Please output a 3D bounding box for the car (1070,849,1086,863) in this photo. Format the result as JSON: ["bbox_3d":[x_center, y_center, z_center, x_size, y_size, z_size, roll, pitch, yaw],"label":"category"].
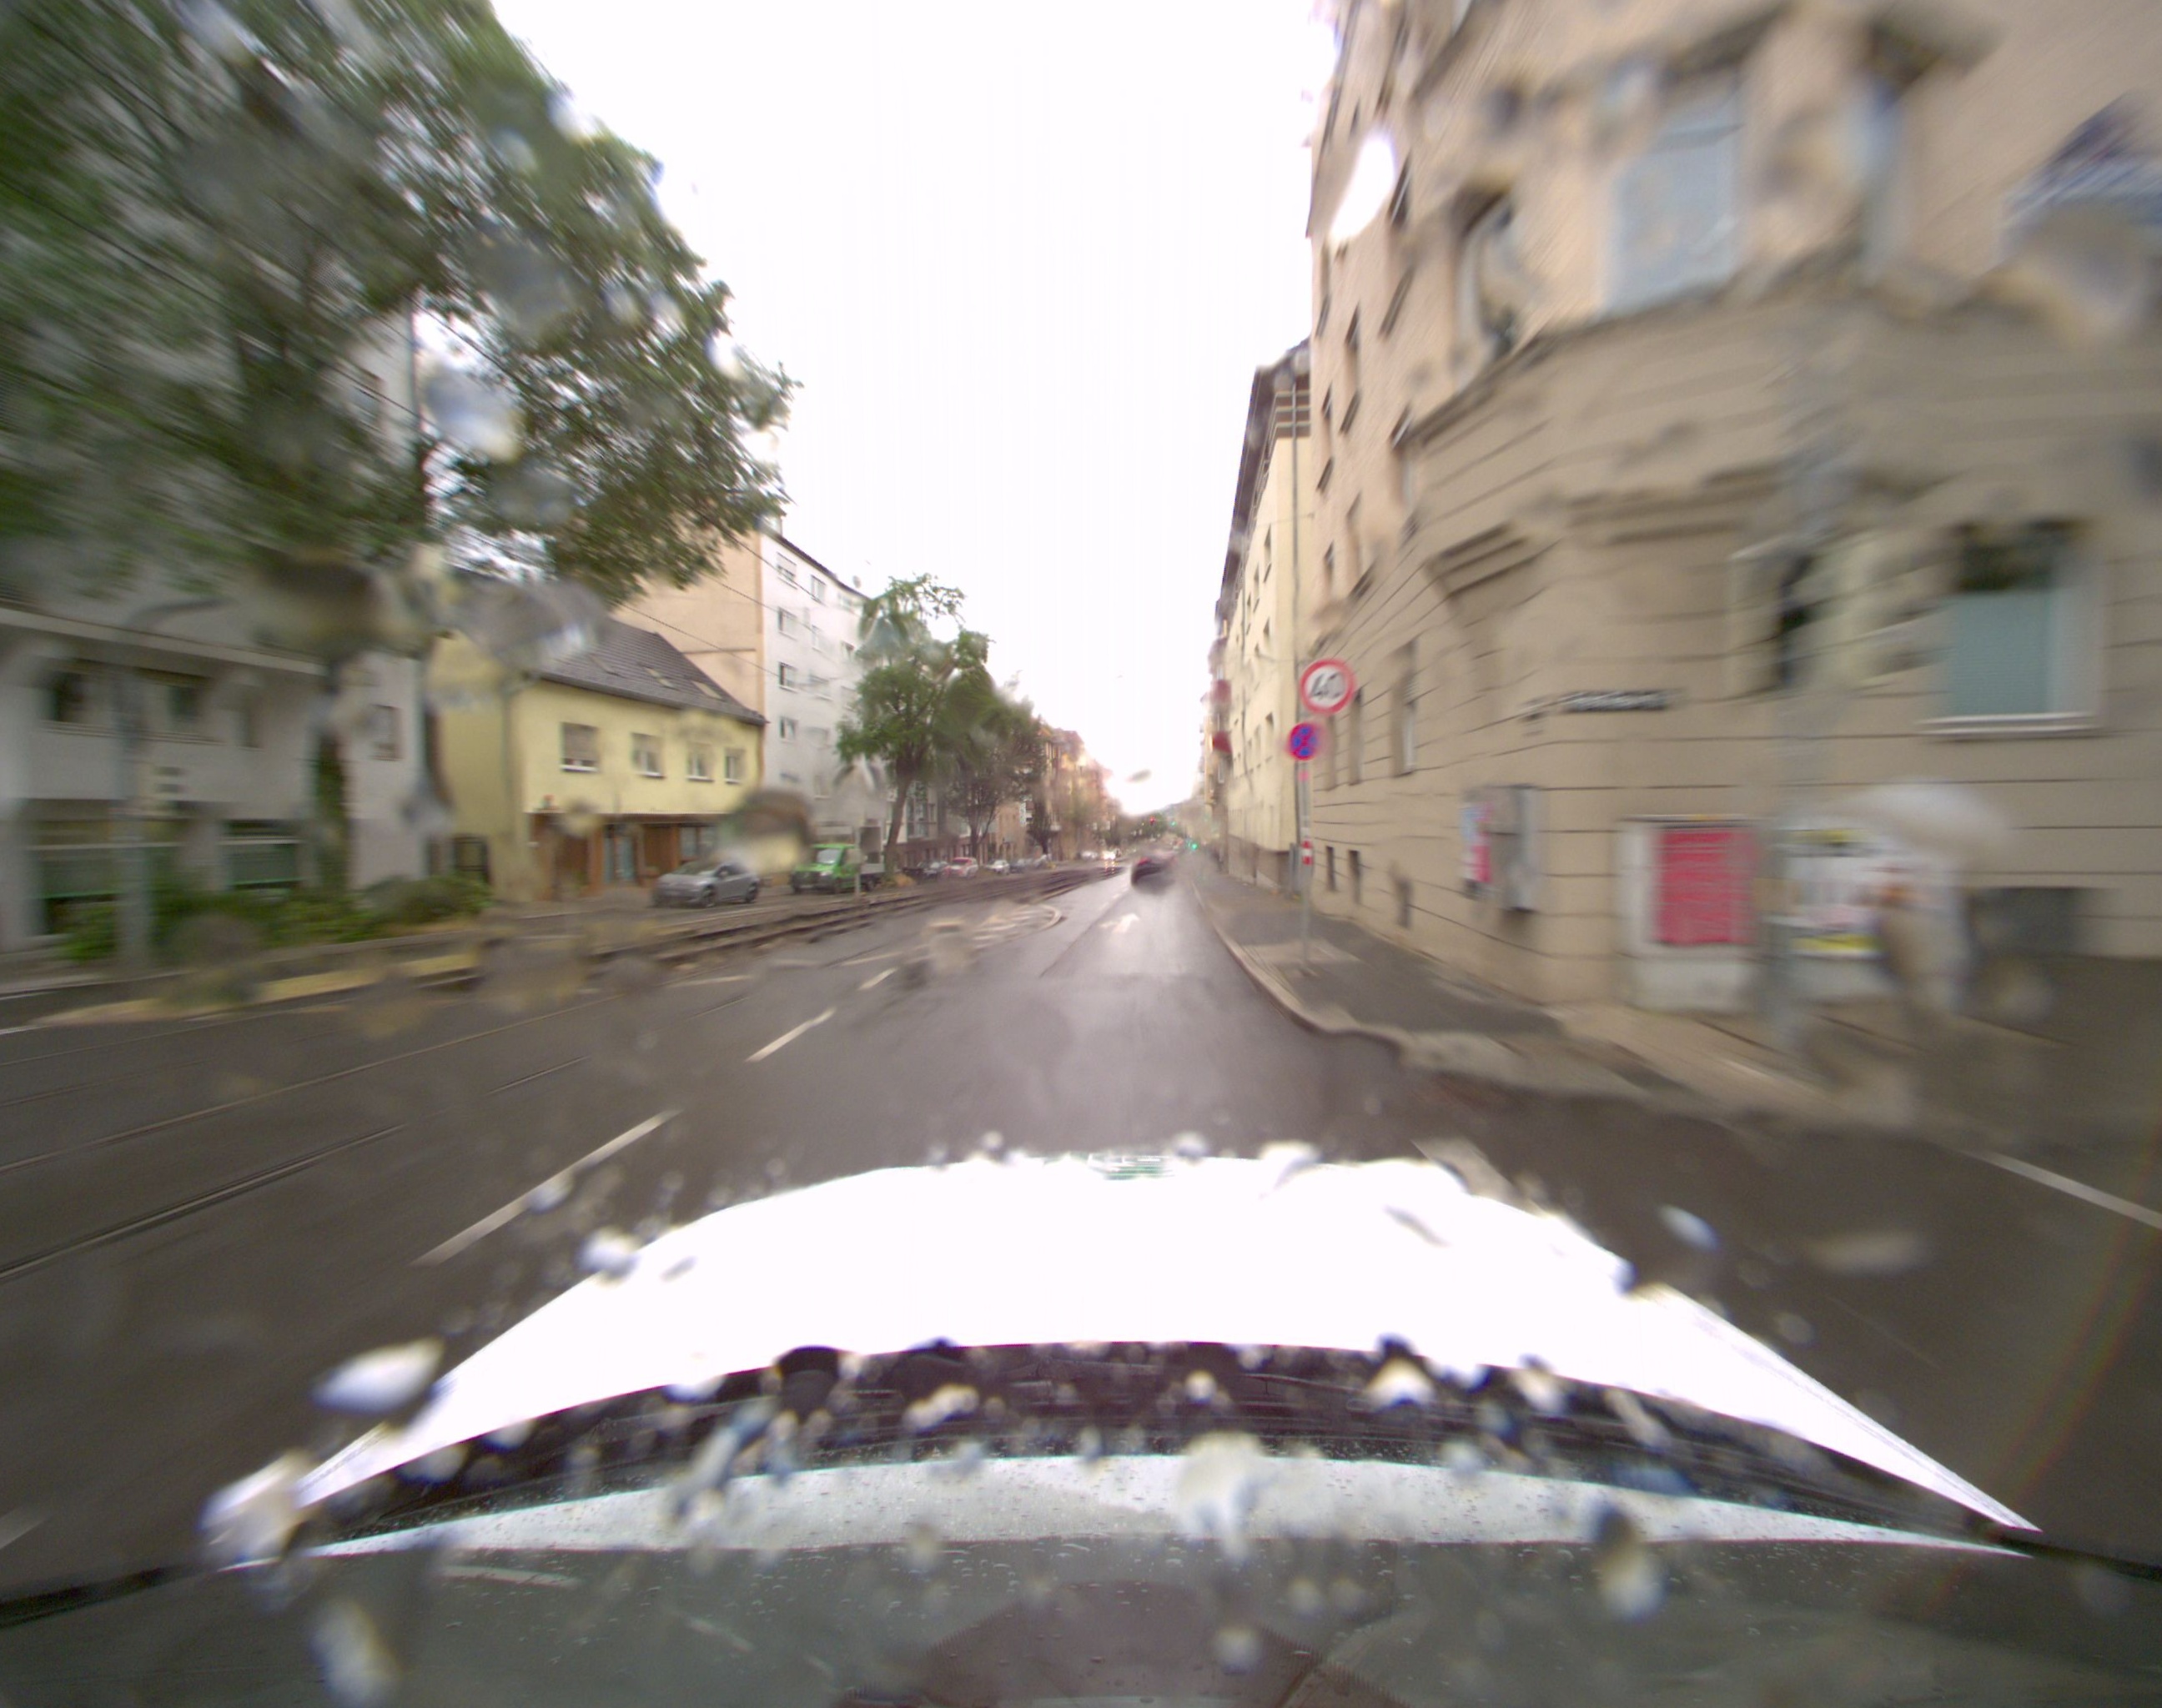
[{"bbox_3d":[-0.466,0.323,124.922,1.984,2.014,4.353,-3,-1,5],"label":"car"}]

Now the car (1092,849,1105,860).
[{"bbox_3d":[3.428,0.179,158.307,1.984,2.014,4.353,-3,-1,5],"label":"car"}]

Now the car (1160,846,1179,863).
[{"bbox_3d":[9.620,0.116,88.809,1.939,1.793,4.150,-1,-1,5],"label":"car"}]

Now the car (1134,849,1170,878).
[{"bbox_3d":[3.909,0.503,44.487,1.843,1.473,4.006,-2,0,5],"label":"car"}]

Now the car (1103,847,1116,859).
[{"bbox_3d":[5.028,-0.208,143.244,1.984,2.013,4.353,-2,0,5],"label":"car"}]

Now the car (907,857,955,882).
[{"bbox_3d":[-9.460,0.966,51.777,1.764,1.453,4.262,-3,-1,6],"label":"car"}]

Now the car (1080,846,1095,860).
[{"bbox_3d":[1.053,-0.156,134.869,1.984,2.014,4.353,-3,-1,5],"label":"car"}]

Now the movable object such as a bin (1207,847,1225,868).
[{"bbox_3d":[10.832,0.276,65.466,1.163,1.655,1.310,-3,0,3],"label":"movable object such as a bin"}]

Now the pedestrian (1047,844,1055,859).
[{"bbox_3d":[-3.952,-0.355,108.147,0.867,2.014,0.705,-3,-1,5],"label":"pedestrian"}]

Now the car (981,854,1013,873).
[{"bbox_3d":[-7.199,0.808,70.362,1.764,1.488,4.264,-3,-1,7],"label":"car"}]

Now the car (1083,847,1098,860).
[{"bbox_3d":[1.638,-0.100,139.889,1.984,2.014,4.353,-3,-1,5],"label":"car"}]

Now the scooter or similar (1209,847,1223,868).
[{"bbox_3d":[10.598,0.292,63.971,0.915,1.604,0.863,-2,0,2],"label":"scooter or similar"}]

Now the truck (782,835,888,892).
[{"bbox_3d":[-11.277,0.417,37.950,2.039,2.393,6.338,-2,0,10],"label":"truck"}]

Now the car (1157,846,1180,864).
[{"bbox_3d":[7.383,0.070,69.276,1.843,1.473,4.005,-1,-1,5],"label":"car"}]

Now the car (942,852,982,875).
[{"bbox_3d":[-8.600,0.673,58.989,1.764,1.546,4.263,-3,0,6],"label":"car"}]

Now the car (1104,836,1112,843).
[{"bbox_3d":[7.201,-3.871,217.692,1.984,2.013,4.006,-2,0,5],"label":"car"}]

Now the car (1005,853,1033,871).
[{"bbox_3d":[-5.961,0.770,78.982,1.764,1.619,4.264,-3,0,7],"label":"car"}]

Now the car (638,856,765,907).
[{"bbox_3d":[-12.824,0.872,27.878,1.716,1.515,4.506,-2,0,8],"label":"car"}]
